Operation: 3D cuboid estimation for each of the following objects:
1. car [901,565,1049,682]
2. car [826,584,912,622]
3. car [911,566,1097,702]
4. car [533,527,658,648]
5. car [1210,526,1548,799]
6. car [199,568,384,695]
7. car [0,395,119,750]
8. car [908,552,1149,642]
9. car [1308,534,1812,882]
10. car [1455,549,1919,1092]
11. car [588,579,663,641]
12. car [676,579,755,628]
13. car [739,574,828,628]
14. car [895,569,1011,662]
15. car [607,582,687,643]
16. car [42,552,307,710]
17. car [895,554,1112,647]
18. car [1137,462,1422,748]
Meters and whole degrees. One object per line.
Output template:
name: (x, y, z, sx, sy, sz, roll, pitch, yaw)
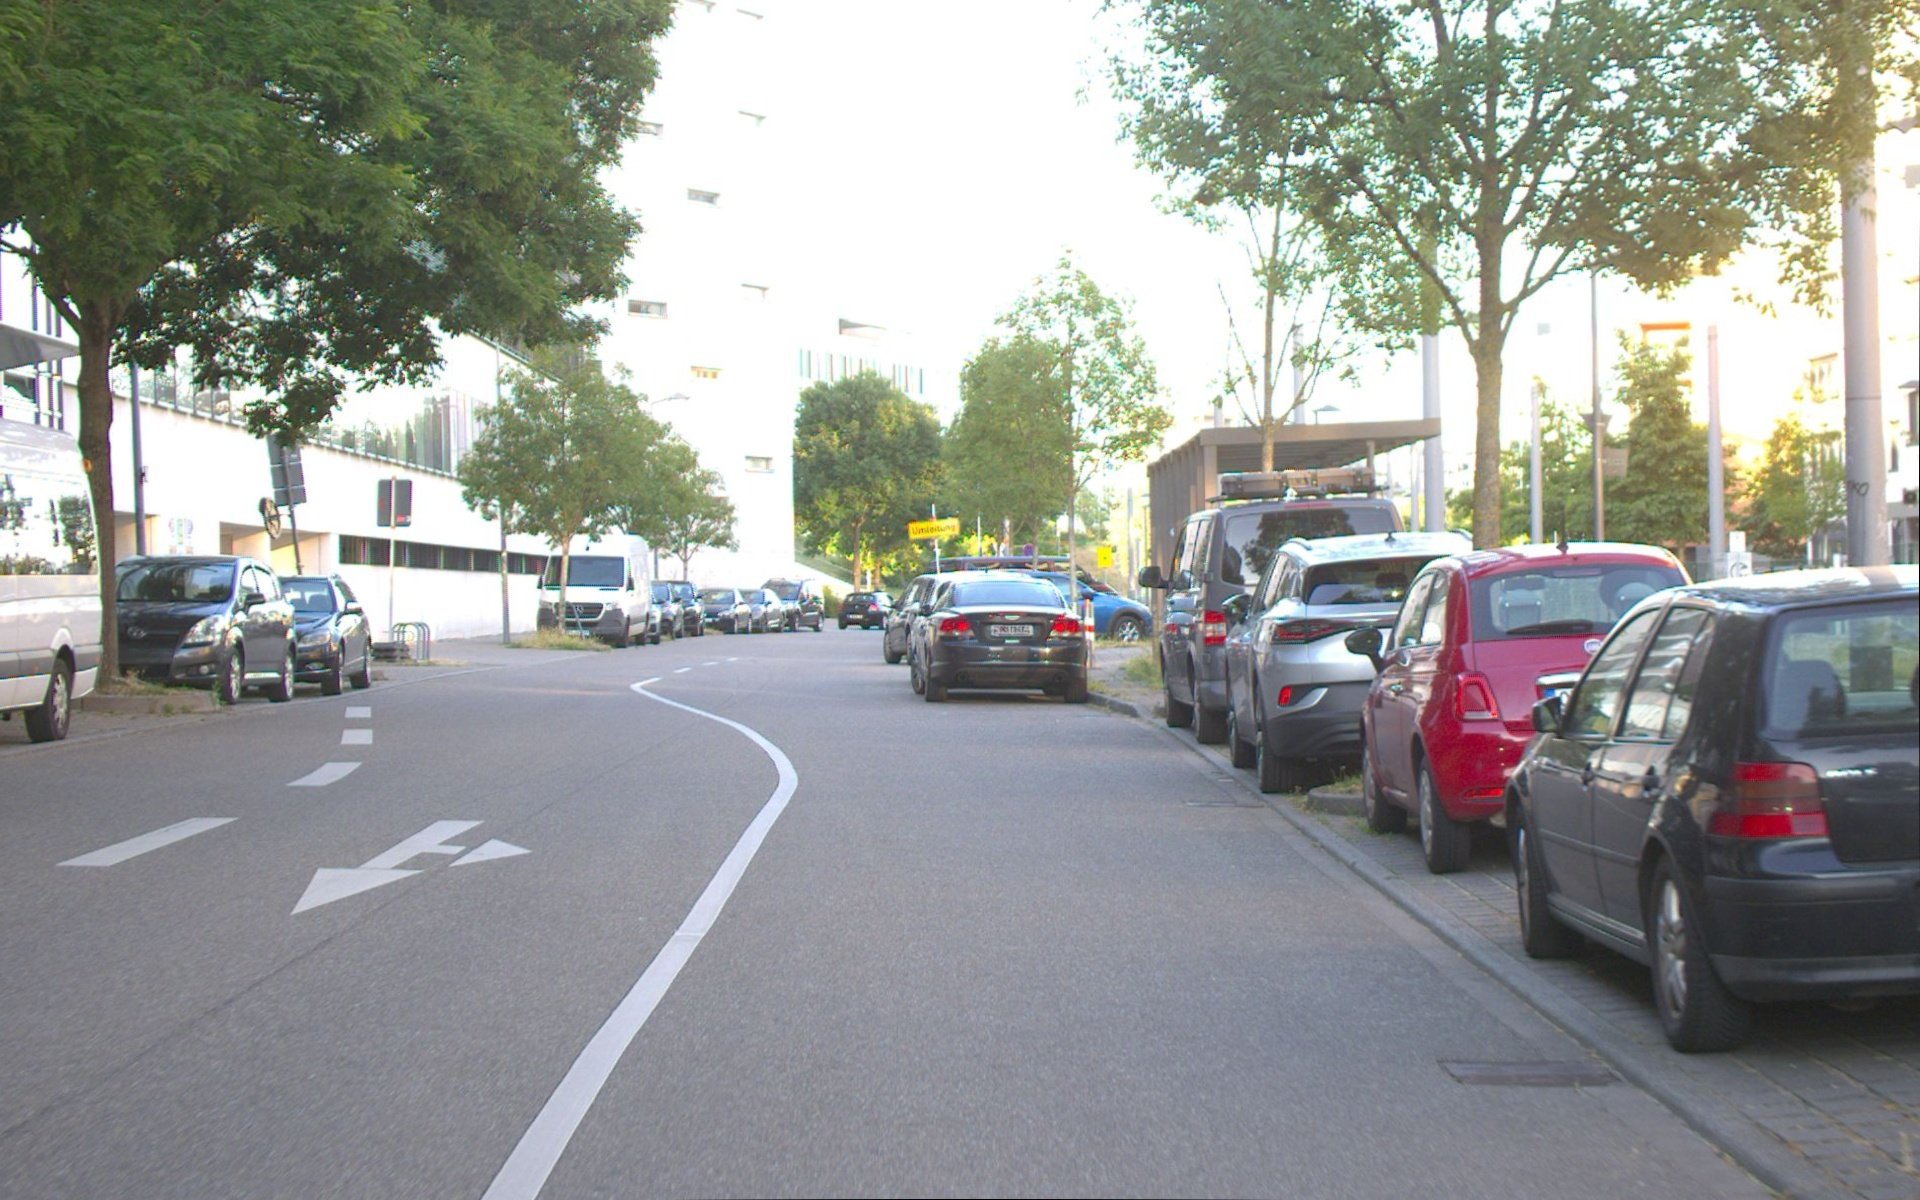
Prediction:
car: (0.151, 0.281, 45.140, 1.676, 1.447, 4.188, 0, 0, -3)
car: (-3.406, 0.110, 129.295, 1.945, 1.378, 4.396, 1, 1, 16)
car: (0.445, 0.343, 39.234, 1.787, 1.447, 4.516, 0, 0, -3)
car: (-8.265, -0.309, 78.536, 1.958, 2.608, 6.892, 1, 1, 1)
car: (2.686, 0.366, 22.957, 1.707, 1.575, 4.479, -2, 0, 1)
car: (-8.085, 0.344, 41.876, 1.714, 1.447, 4.400, 0, 0, -5)
car: (-8.229, -0.198, 25.883, 2.100, 2.654, 6.951, 0, 0, 0)
car: (1.260, -0.056, 62.852, 3.988, 1.515, 1.927, -1, -1, -35)
car: (2.906, 0.476, 17.506, 1.707, 1.488, 4.131, -2, 0, -1)
car: (2.847, 0.574, 11.378, 1.707, 1.446, 4.000, -2, 0, -1)
car: (-8.243, 0.222, 84.901, 1.755, 1.435, 3.902, 1, 1, -5)
car: (-7.668, 0.087, 108.175, 1.723, 1.452, 4.270, 1, 1, 6)
car: (-6.070, 0.011, 118.862, 1.758, 1.792, 4.460, 1, 1, 15)
car: (-0.146, 0.265, 56.906, 1.731, 1.461, 4.000, 1, -1, -2)
car: (-8.500, 0.326, 93.608, 1.756, 1.555, 4.043, 1, 1, 0)
car: (-8.265, 0.294, 36.517, 1.844, 1.566, 4.267, 0, 0, 0)
car: (0.993, 0.010, 77.218, 4.588, 2.028, 1.871, 1, 1, -34)
car: (2.630, 0.027, 29.347, 1.804, 2.169, 4.736, -2, 0, -1)
